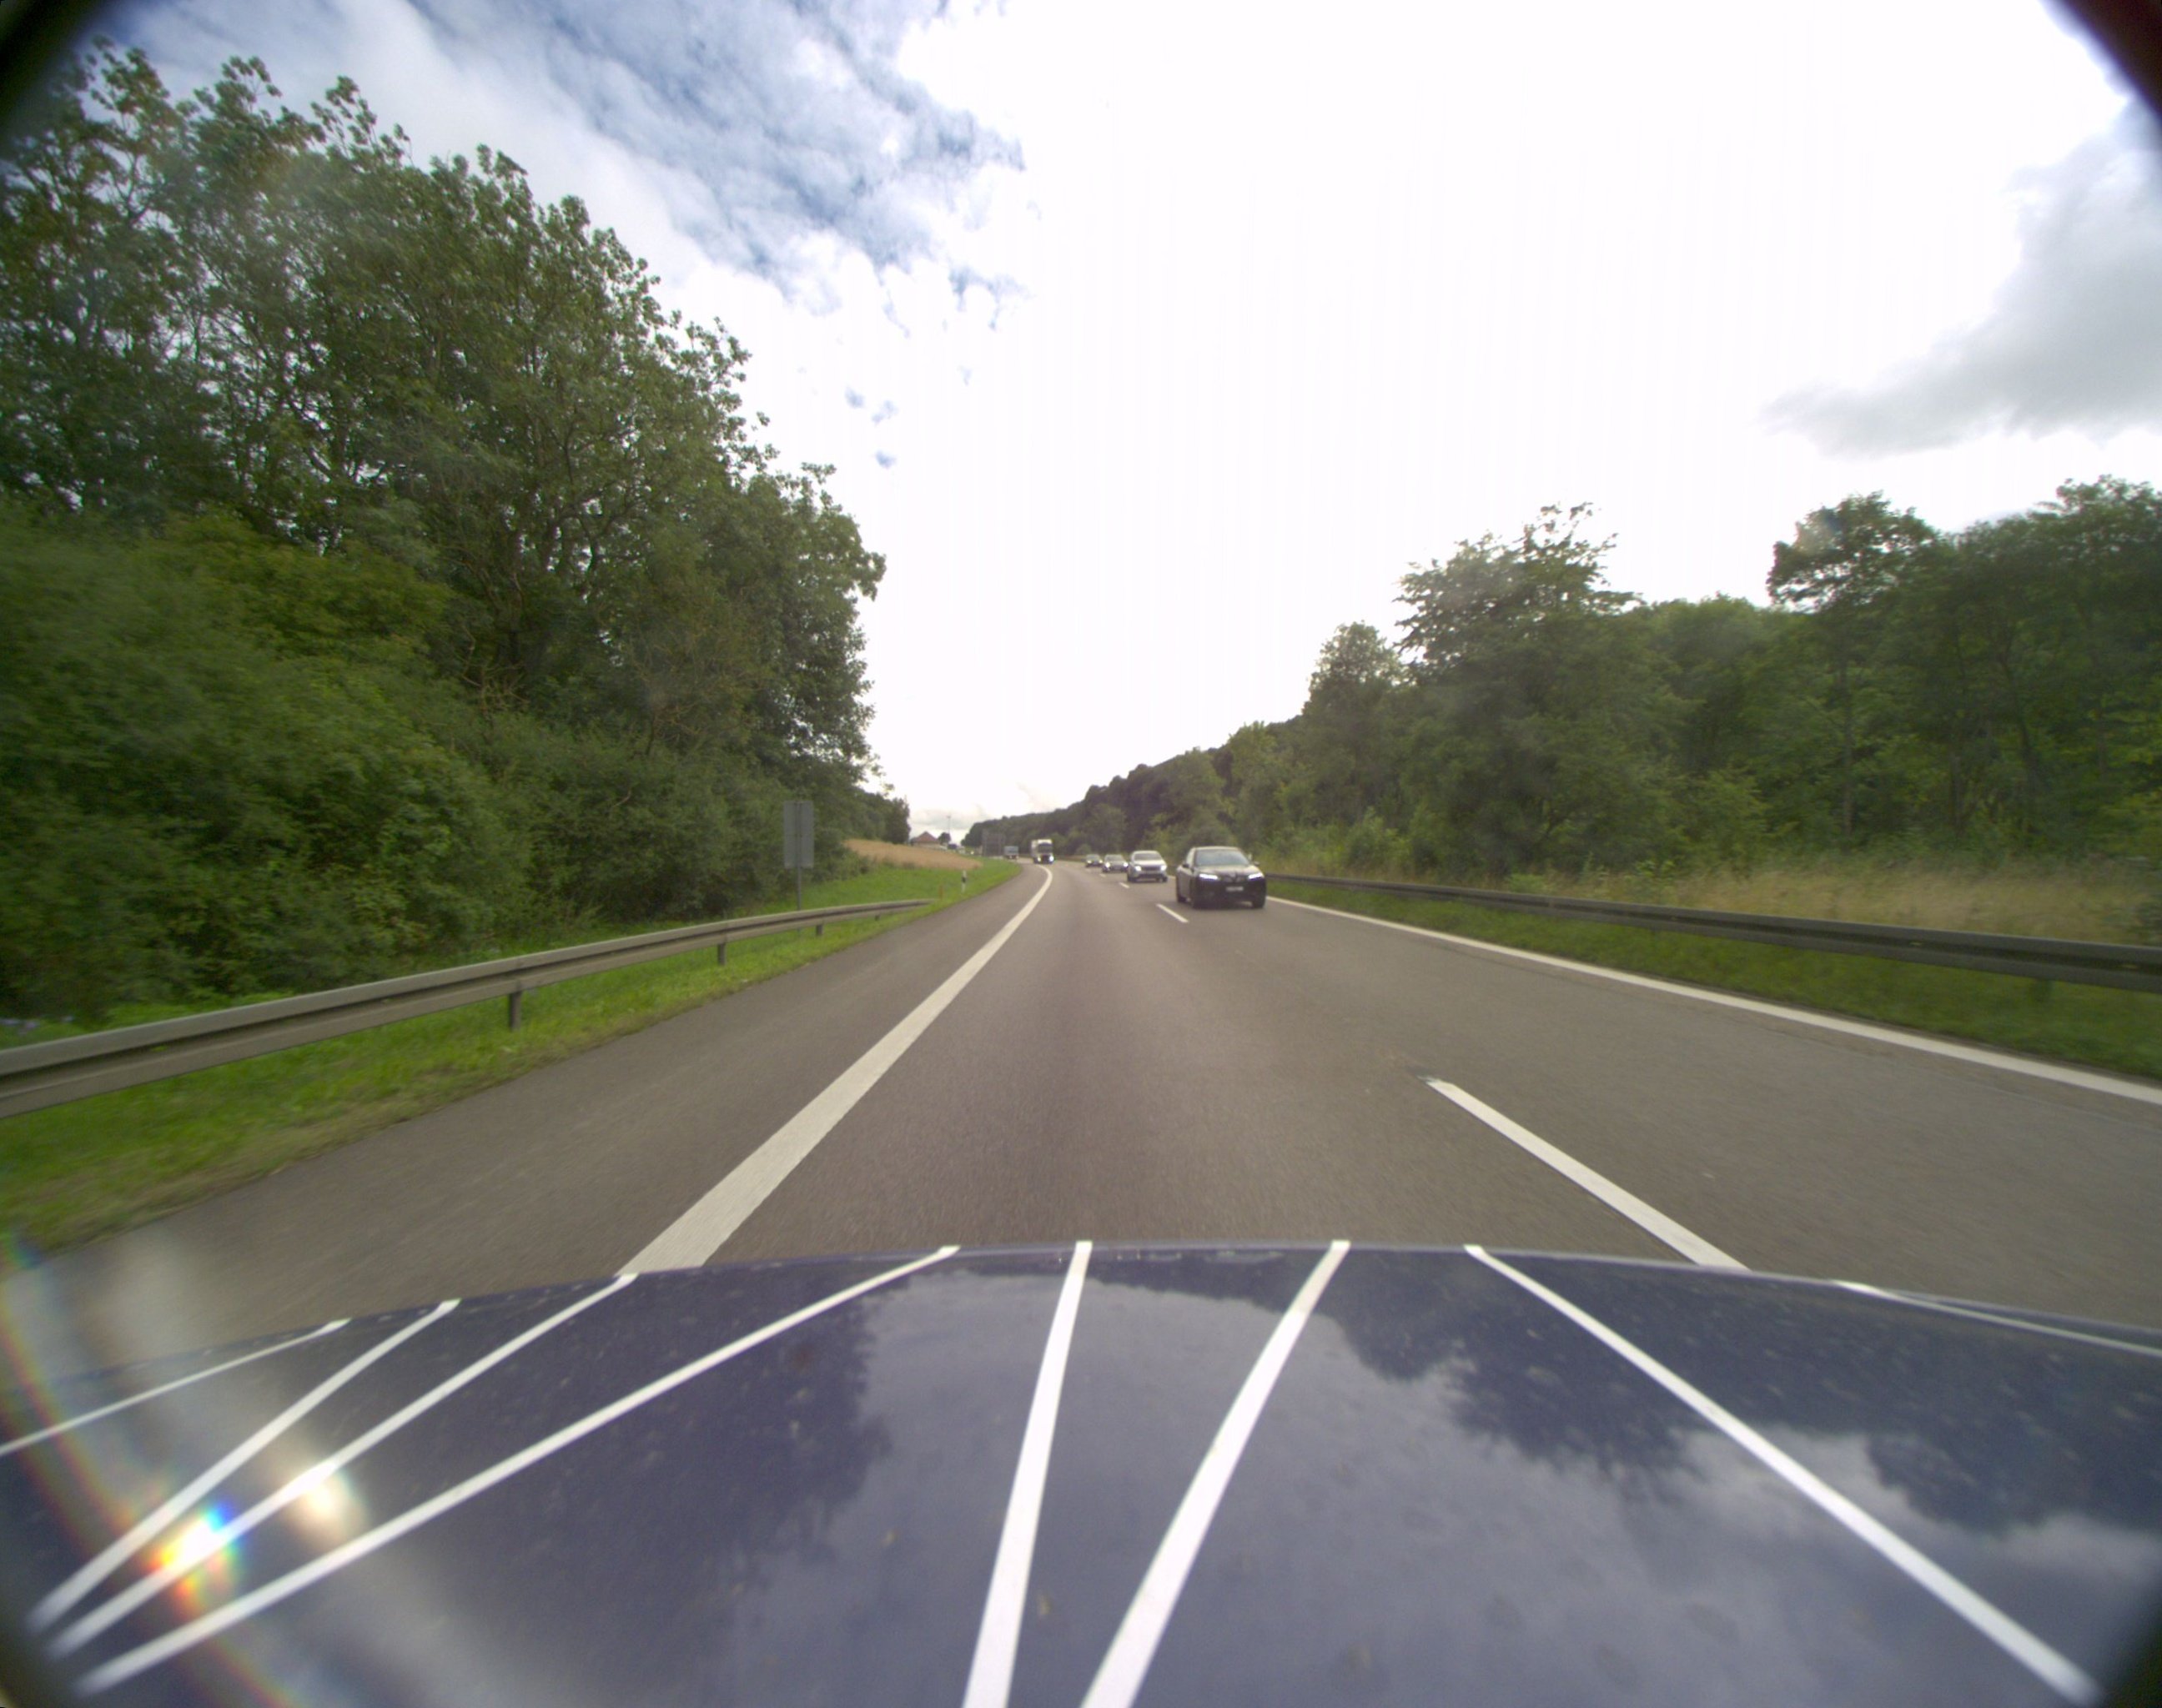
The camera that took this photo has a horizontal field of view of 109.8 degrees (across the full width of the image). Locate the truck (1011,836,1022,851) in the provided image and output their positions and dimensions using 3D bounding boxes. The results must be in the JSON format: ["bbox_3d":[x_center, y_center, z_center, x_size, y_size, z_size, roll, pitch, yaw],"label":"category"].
[{"bbox_3d":[-17.565,-2.949,207.311,2.797,3.949,5.936,-1,1,-6],"label":"truck"}]

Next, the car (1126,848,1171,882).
[{"bbox_3d":[3.590,0.545,41.131,1.999,1.656,4.414,-1,1,0],"label":"car"}]

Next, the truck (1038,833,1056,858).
[{"bbox_3d":[-5.673,-1.399,126.393,2.796,3.949,5.937,-1,1,-2],"label":"truck"}]

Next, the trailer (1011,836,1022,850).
[{"bbox_3d":[-18.246,-3.059,214.365,2.788,3.932,11.288,-1,1,-5],"label":"trailer"}]

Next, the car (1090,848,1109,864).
[{"bbox_3d":[2.118,0.247,86.955,1.999,1.656,4.413,-1,2,-1],"label":"car"}]

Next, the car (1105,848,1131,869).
[{"bbox_3d":[3.050,0.331,63.272,1.998,1.656,4.415,-1,1,2],"label":"car"}]

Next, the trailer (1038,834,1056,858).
[{"bbox_3d":[-5.917,-1.468,131.515,2.787,3.932,11.291,-1,1,-3],"label":"trailer"}]

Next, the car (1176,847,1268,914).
[{"bbox_3d":[3.949,0.667,21.980,1.998,1.656,4.415,-2,1,3],"label":"car"}]
